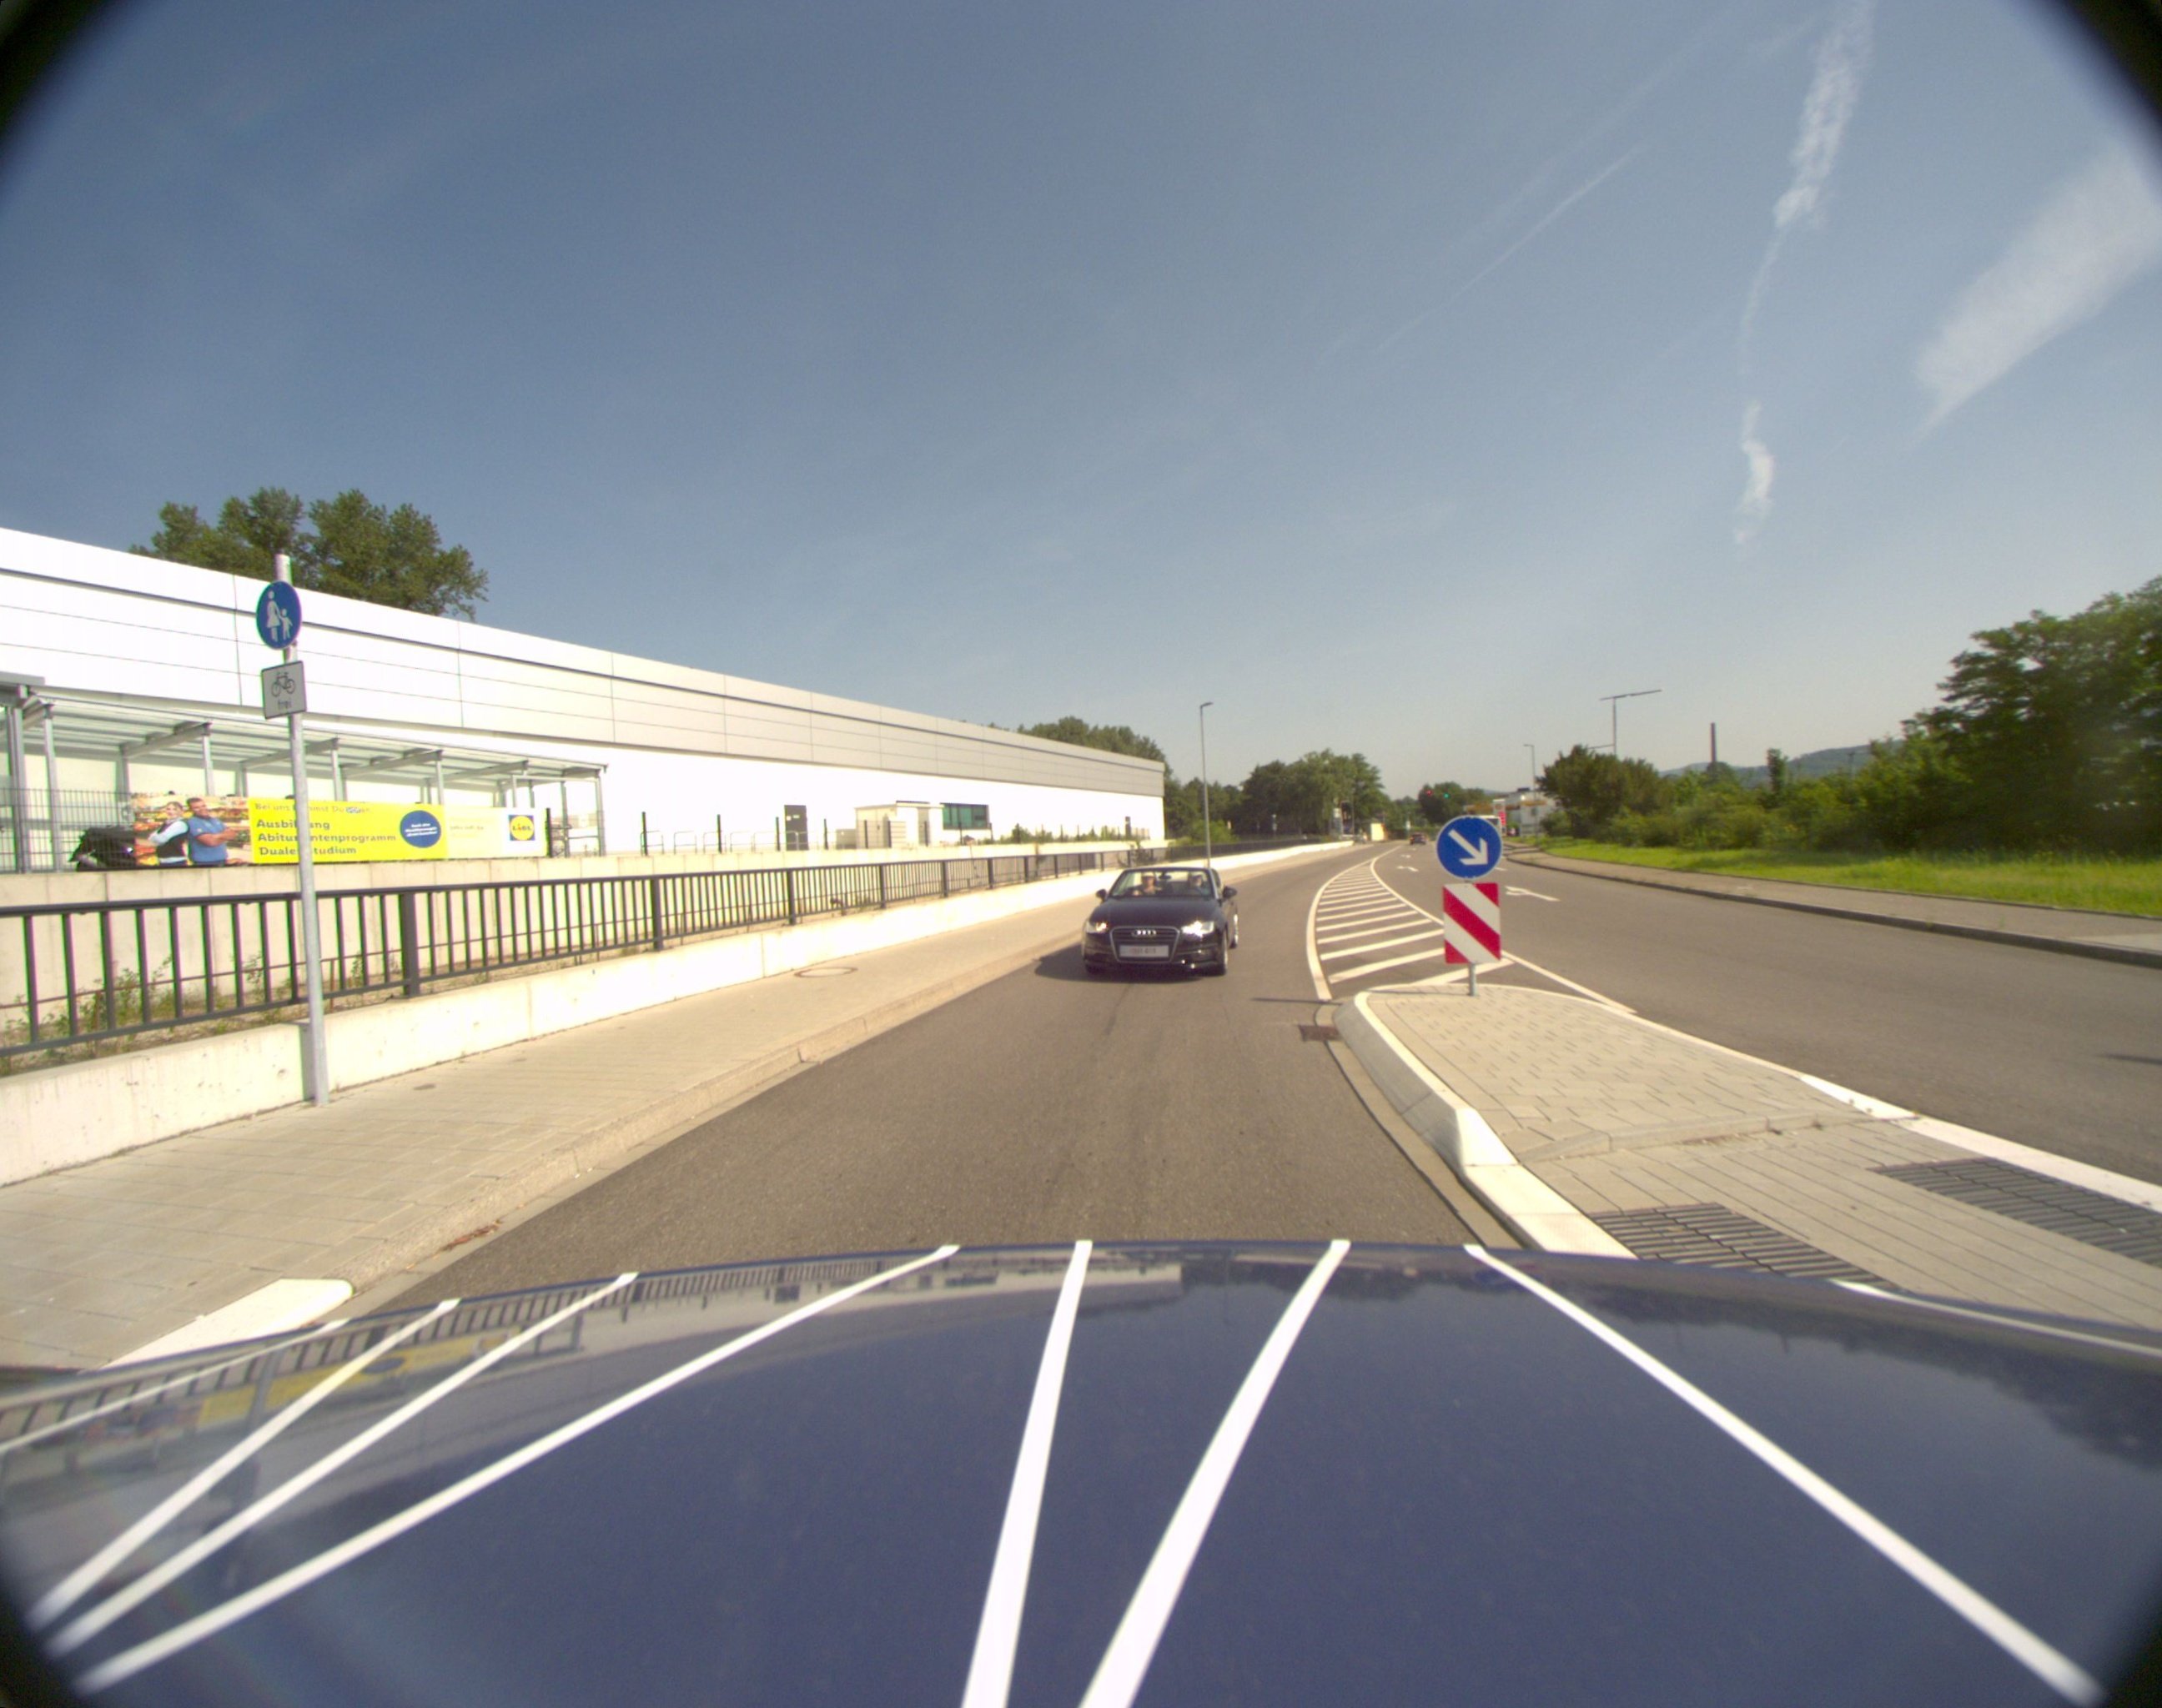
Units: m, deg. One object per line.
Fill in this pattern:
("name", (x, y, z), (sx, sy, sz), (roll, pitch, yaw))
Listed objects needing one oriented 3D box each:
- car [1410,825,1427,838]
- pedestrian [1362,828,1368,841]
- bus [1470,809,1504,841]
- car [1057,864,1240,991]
("car", (41.897, -2.792, 94.210), (1.774, 1.464, 4.226), (-1, 2, 26))
("pedestrian", (38.473, -2.657, 102.895), (0.711, 1.662, 0.594), (-1, 2, 18))
("bus", (46.088, -3.264, 86.436), (2.623, 3.291, 11.973), (-1, 2, 25))
("car", (1.179, 0.892, 10.790), (1.867, 1.323, 4.236), (-3, 0, 14))
